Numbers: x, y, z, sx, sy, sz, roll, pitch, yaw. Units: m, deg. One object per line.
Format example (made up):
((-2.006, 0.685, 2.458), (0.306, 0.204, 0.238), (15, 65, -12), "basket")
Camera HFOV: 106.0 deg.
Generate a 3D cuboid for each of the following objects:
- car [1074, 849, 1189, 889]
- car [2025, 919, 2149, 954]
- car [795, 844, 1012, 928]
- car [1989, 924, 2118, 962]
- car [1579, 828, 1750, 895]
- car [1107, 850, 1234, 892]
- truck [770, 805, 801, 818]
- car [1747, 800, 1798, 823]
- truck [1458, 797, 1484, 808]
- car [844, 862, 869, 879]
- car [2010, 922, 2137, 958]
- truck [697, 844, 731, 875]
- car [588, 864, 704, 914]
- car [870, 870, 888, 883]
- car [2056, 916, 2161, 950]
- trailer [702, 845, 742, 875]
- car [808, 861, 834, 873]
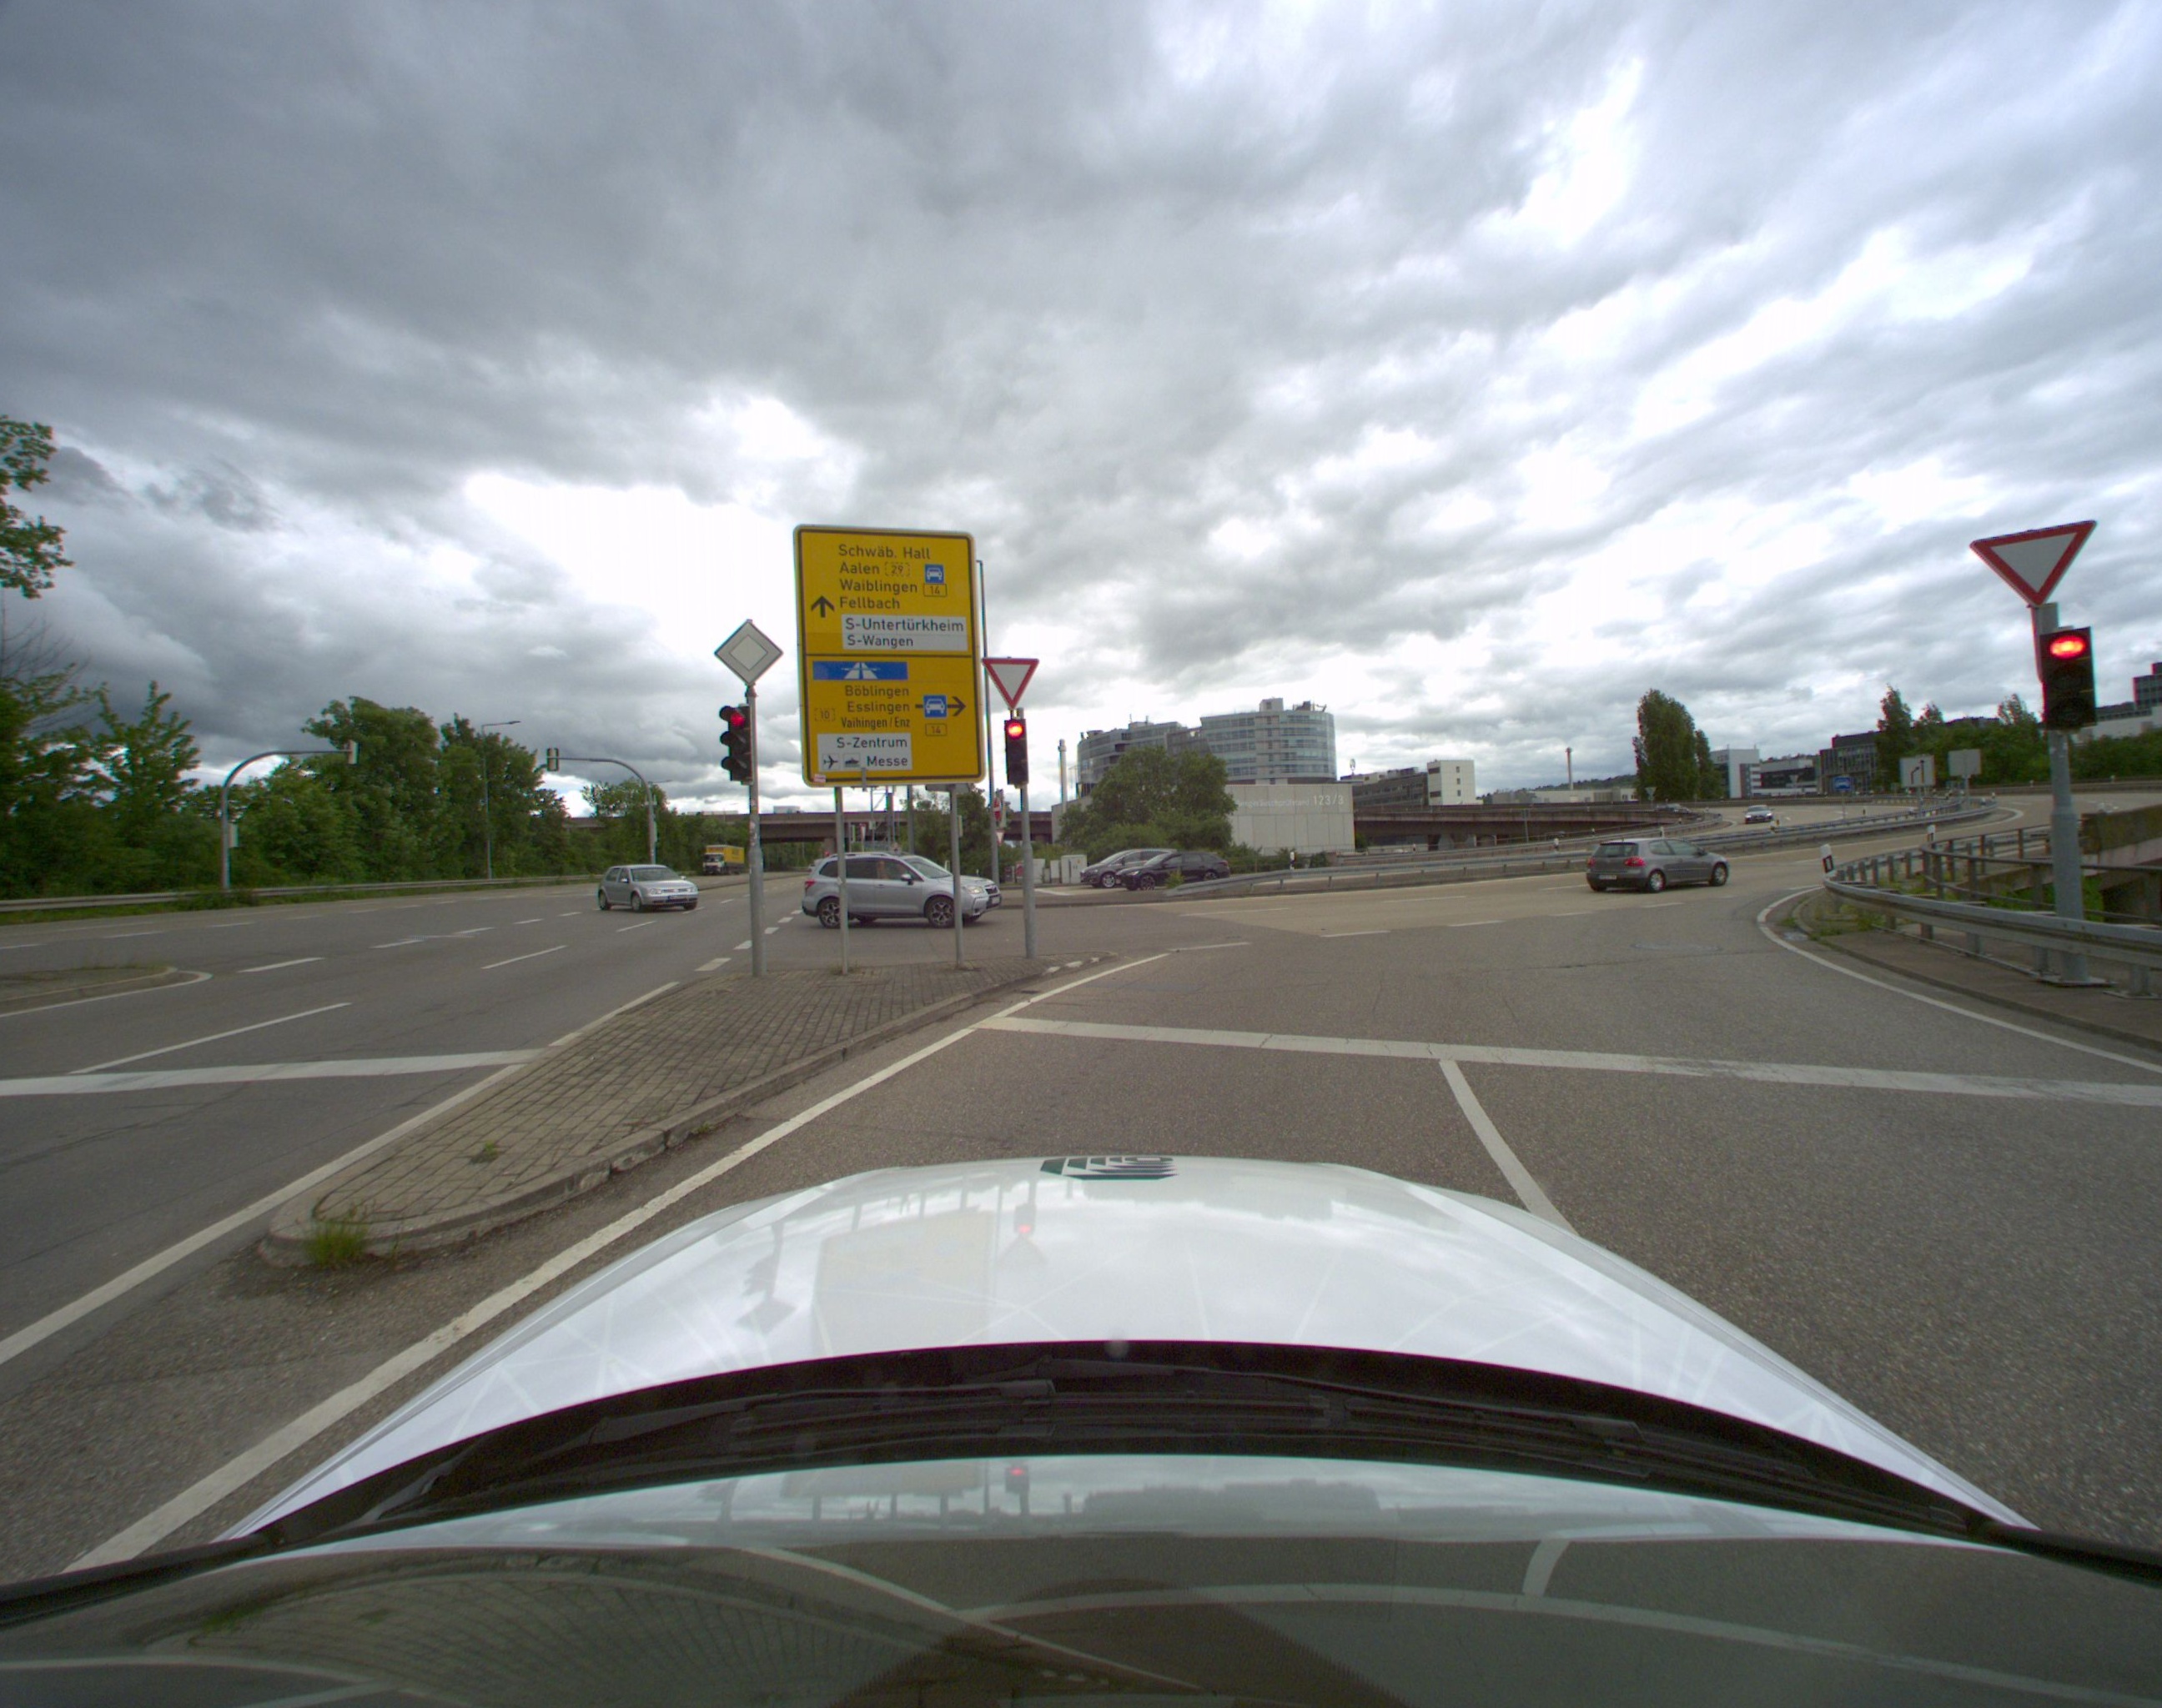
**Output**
((2.224, 0.627, 36.071), (4.689, 1.571, 1.945), (-1, 1, -17), "car")
((52.422, 4.265, 42.505), (1.832, 1.354, 3.828), (-3, 1, -29), "car")
((-4.058, 0.718, 18.785), (4.509, 1.737, 1.736), (-2, 0, 13), "car")
((48.370, 4.400, 40.593), (1.832, 1.354, 3.828), (-3, 1, -29), "car")
((16.009, 0.182, 22.339), (4.246, 1.461, 1.718), (-4, 0, -21), "car")
((3.539, 0.636, 32.221), (4.622, 1.457, 1.942), (-1, 1, -21), "car")
((-55.654, -7.955, 153.230), (5.033, 2.321, 2.004), (-1, 0, 7), "truck")
((58.942, -3.563, 69.411), (4.763, 1.662, 1.896), (2, 0, -32), "car")
((83.720, -11.027, 174.935), (4.567, 2.171, 2.002), (2, 0, 4), "truck")
((-20.763, 1.515, 75.391), (1.996, 1.442, 4.091), (0, -2, -13), "car")
((50.532, 4.333, 41.535), (1.832, 1.354, 3.828), (-3, 1, -29), "car")
((-49.946, 0.782, 110.970), (2.874, 4.084, 6.460), (1, 0, -12), "truck")
((-13.608, 1.057, 25.371), (4.014, 1.400, 1.741), (-2, 0, 39), "car")
((-24.238, 2.686, 97.741), (1.995, 1.464, 4.093), (-1, -2, -12), "car")
((55.125, 4.181, 43.382), (1.832, 1.354, 3.828), (-3, 1, -29), "car")
((-51.033, 0.791, 116.243), (2.874, 4.084, 11.379), (1, 0, -12), "trailer")
((-46.316, 2.313, 145.098), (3.962, 1.860, 2.006), (2, 0, 11), "car")
